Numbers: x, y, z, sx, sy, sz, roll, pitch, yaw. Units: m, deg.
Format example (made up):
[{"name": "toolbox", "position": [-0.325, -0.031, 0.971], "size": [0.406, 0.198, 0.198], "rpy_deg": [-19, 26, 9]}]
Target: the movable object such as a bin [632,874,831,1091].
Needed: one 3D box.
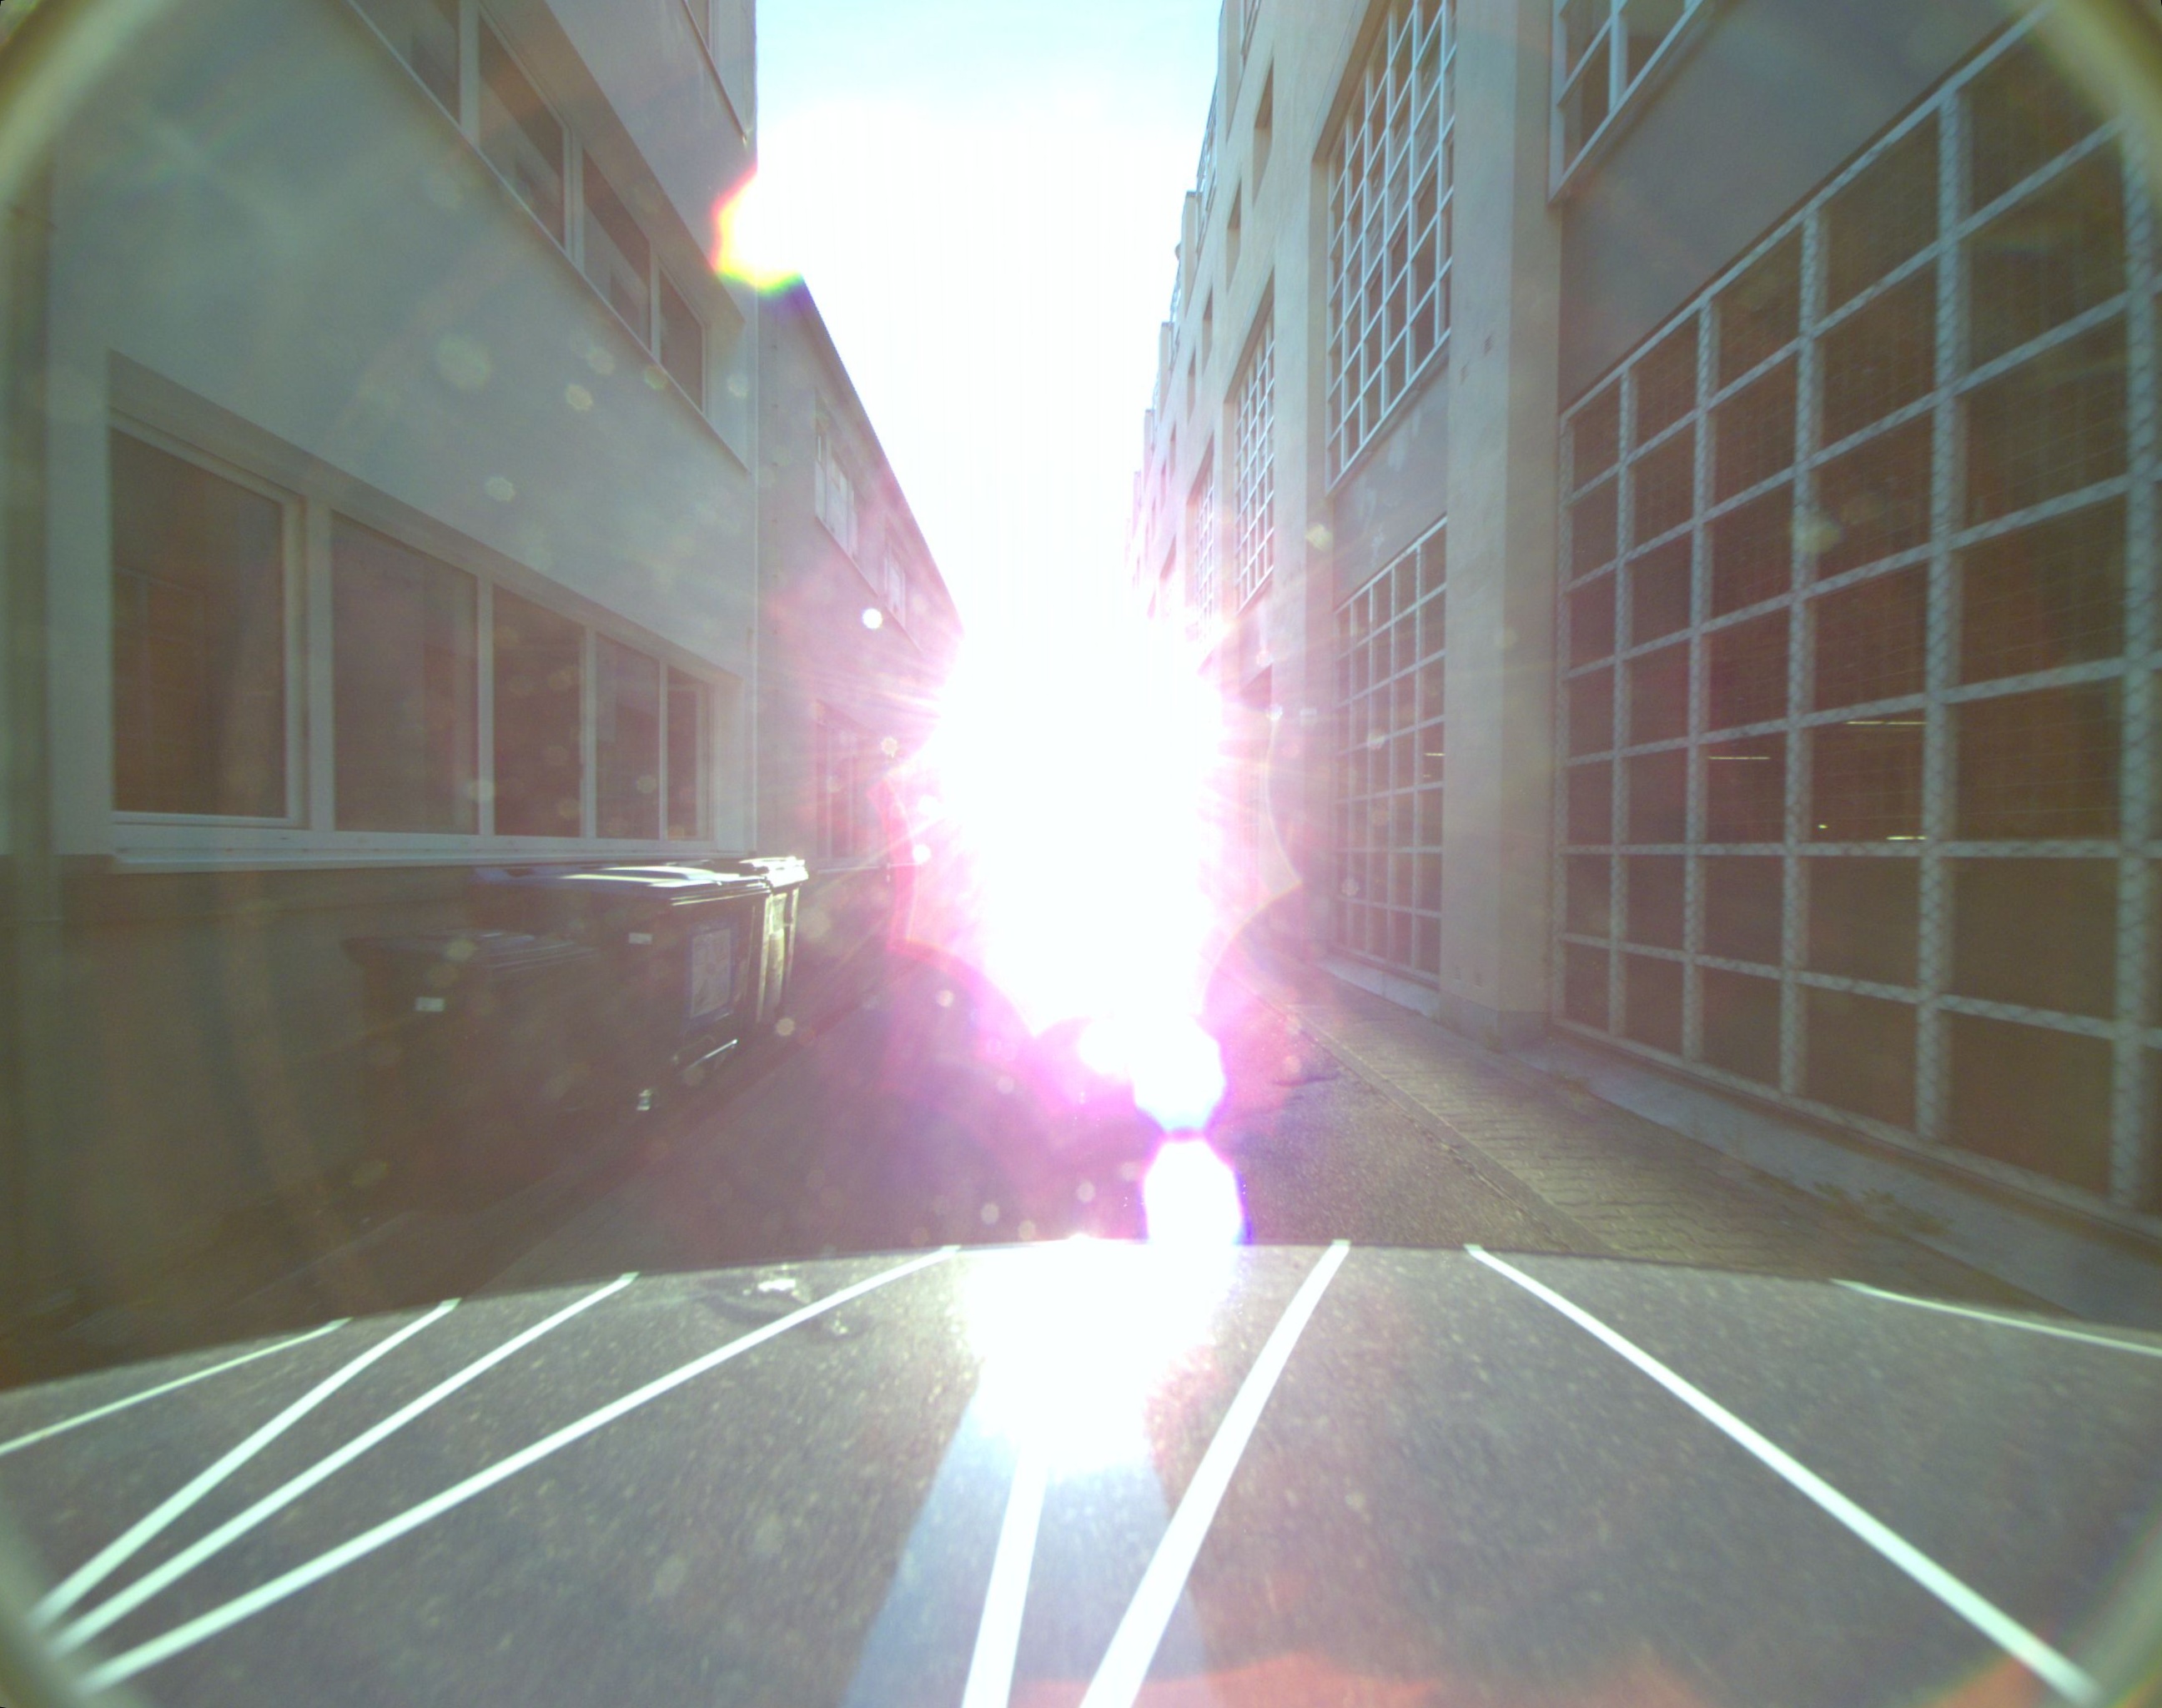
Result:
[{"name": "movable object such as a bin", "position": [-2.510, 0.875, 5.661], "size": [0.940, 1.359, 1.341], "rpy_deg": [2, 1, -7]}]

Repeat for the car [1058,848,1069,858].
[{"name": "car", "position": [-3.339, -0.223, 143.384], "size": [1.999, 1.805, 3.998], "rpy_deg": [-2, 1, -2]}]

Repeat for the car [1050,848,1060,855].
[{"name": "car", "position": [-5.628, -0.574, 162.369], "size": [1.806, 1.415, 3.753], "rpy_deg": [-1, 1, -6]}]

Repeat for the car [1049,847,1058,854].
[{"name": "car", "position": [-6.052, -0.838, 167.953], "size": [1.806, 1.415, 3.753], "rpy_deg": [-1, 1, -5]}]

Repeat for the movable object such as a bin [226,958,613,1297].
[{"name": "movable object such as a bin", "position": [-2.541, 1.015, 3.030], "size": [0.871, 1.069, 0.738], "rpy_deg": [2, 1, -3]}]

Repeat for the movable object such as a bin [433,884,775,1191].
[{"name": "movable object such as a bin", "position": [-2.516, 0.899, 4.256], "size": [1.067, 1.359, 1.341], "rpy_deg": [2, 1, -3]}]

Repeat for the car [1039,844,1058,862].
[{"name": "car", "position": [-3.252, -0.081, 77.629], "size": [1.764, 1.756, 4.749], "rpy_deg": [-2, 1, -1]}]
